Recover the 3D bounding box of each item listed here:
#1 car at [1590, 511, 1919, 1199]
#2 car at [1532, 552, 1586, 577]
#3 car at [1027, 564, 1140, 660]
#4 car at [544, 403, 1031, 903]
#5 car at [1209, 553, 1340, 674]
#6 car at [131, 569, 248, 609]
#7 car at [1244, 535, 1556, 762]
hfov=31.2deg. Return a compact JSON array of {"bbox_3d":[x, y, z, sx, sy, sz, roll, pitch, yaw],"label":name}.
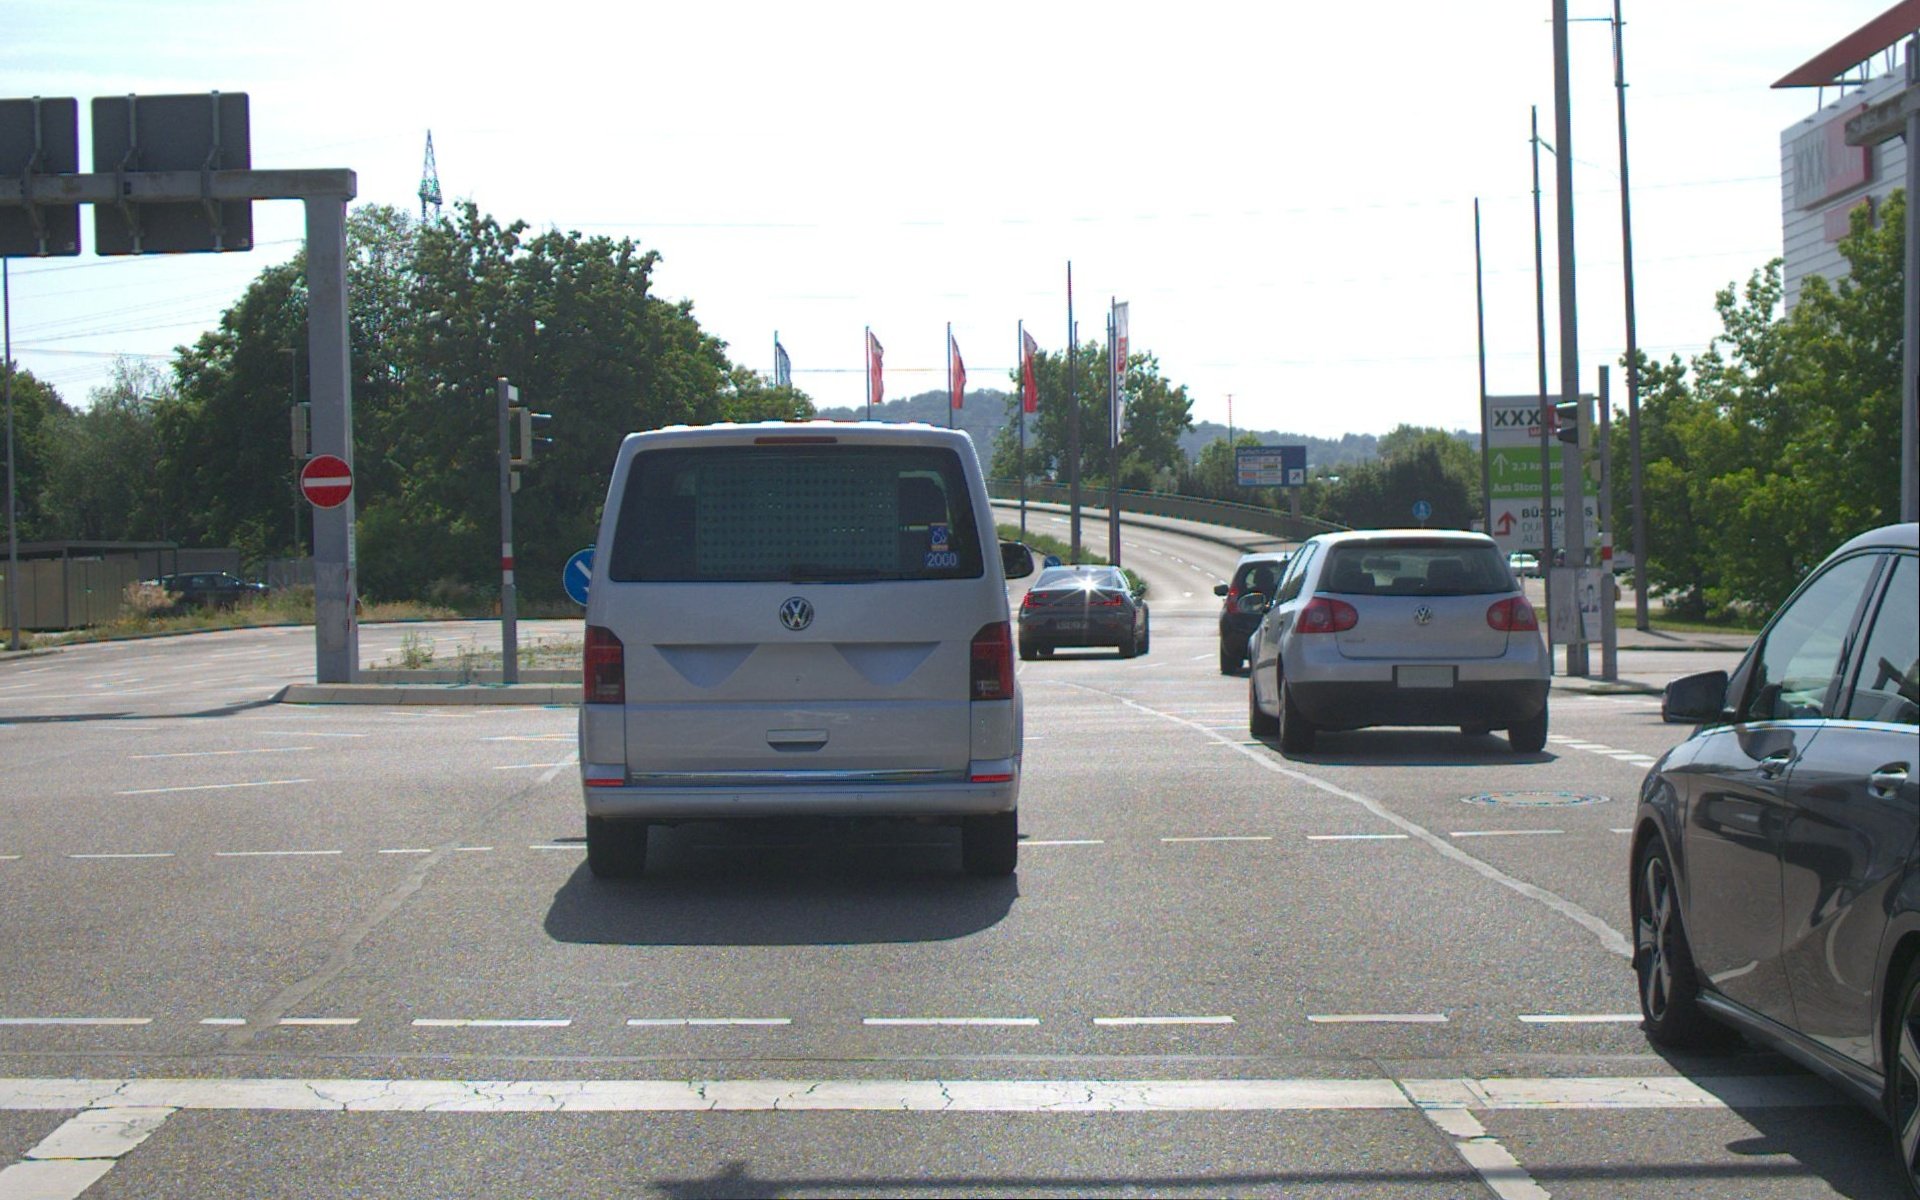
[{"bbox_3d":[2.834,0.551,8.389,1.773,1.533,4.138,0,1,-1],"label":"car"},{"bbox_3d":[35.546,-2.104,204.131,1.993,1.415,4.001,1,0,-9],"label":"car"},{"bbox_3d":[2.000,0.162,55.081,1.531,1.475,3.246,0,1,7],"label":"car"},{"bbox_3d":[-0.709,0.179,15.790,1.917,1.968,4.297,0,1,-1],"label":"car"},{"bbox_3d":[4.050,0.134,43.920,1.531,1.475,3.595,0,1,7],"label":"car"},{"bbox_3d":[-28.917,-0.398,129.093,4.098,1.415,1.729,-1,-1,-19],"label":"car"},{"bbox_3d":[2.927,0.277,23.509,1.667,1.409,3.682,-1,1,0],"label":"car"}]
